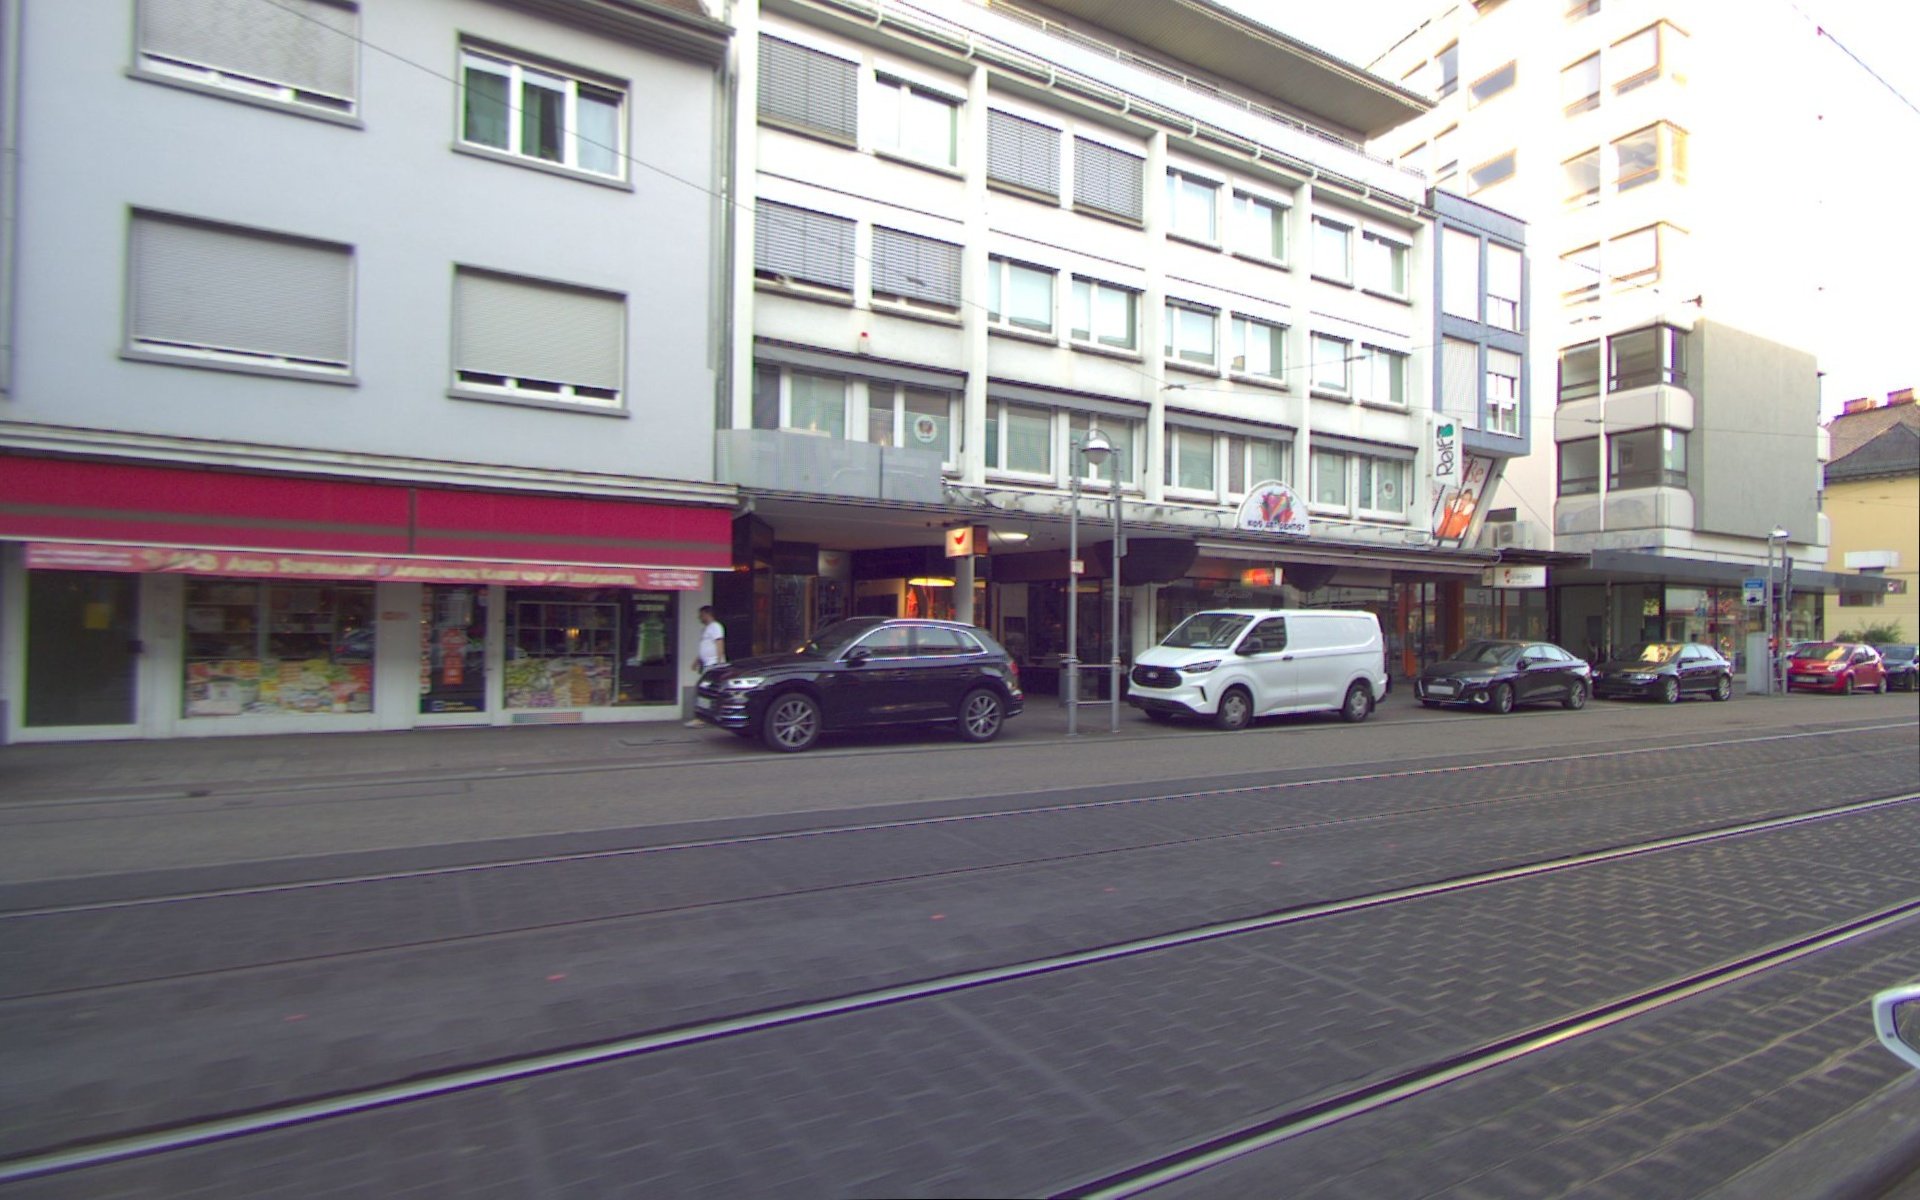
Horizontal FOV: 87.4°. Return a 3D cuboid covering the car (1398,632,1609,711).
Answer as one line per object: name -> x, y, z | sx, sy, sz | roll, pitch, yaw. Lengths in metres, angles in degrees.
car -> 11.584, 1.488, 21.341 | 4.518, 1.445, 1.863 | 2, 0, -30

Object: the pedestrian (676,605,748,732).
pedestrian -> -3.685, 0.995, 14.902 | 0.809, 1.806, 0.813 | 2, 0, -30

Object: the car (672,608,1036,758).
car -> -1.398, 1.055, 13.789 | 4.535, 1.720, 1.984 | 2, 0, -31

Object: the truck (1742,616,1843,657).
truck -> 60.928, 2.635, 73.624 | 5.356, 2.735, 2.197 | 2, 0, 4

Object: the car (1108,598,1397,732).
car -> 5.193, 1.076, 17.593 | 5.043, 2.040, 1.954 | 2, 0, -32

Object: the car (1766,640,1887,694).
car -> 25.517, 1.940, 29.573 | 3.550, 1.453, 1.683 | 2, -1, -31

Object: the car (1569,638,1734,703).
car -> 17.067, 1.696, 24.754 | 4.042, 1.480, 1.782 | 2, -2, -30

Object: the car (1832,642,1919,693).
car -> 29.624, 2.100, 31.943 | 3.919, 1.444, 1.683 | 1, 1, -31
